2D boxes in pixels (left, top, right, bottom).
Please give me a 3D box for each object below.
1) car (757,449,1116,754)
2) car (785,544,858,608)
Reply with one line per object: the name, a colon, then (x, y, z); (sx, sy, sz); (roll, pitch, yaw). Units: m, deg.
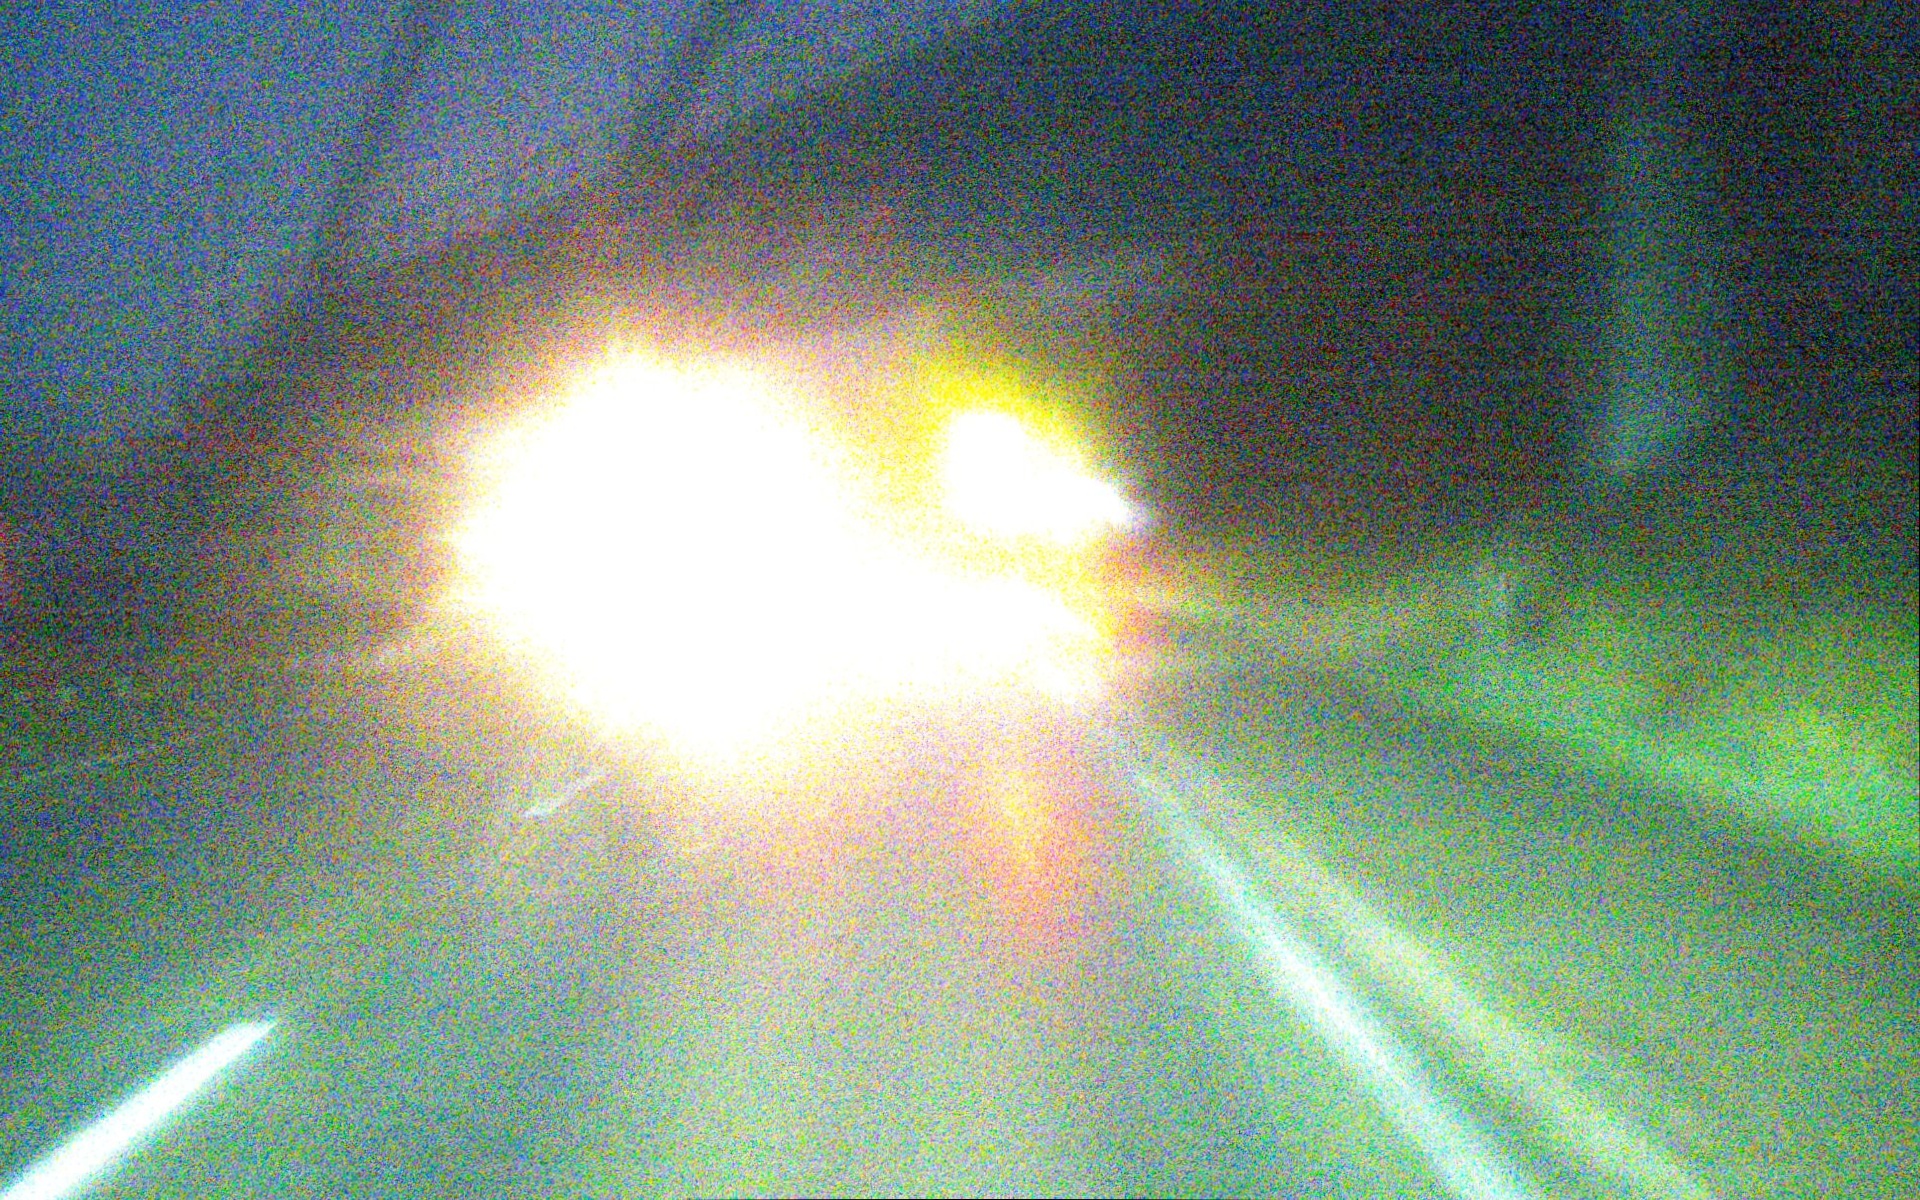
car: (-0.270, -0.027, 29.231); (2.715, 2.300, 6.101); (0, 1, -2)
car: (-4.312, -0.758, 106.524); (1.993, 1.908, 4.001); (1, 0, -5)
